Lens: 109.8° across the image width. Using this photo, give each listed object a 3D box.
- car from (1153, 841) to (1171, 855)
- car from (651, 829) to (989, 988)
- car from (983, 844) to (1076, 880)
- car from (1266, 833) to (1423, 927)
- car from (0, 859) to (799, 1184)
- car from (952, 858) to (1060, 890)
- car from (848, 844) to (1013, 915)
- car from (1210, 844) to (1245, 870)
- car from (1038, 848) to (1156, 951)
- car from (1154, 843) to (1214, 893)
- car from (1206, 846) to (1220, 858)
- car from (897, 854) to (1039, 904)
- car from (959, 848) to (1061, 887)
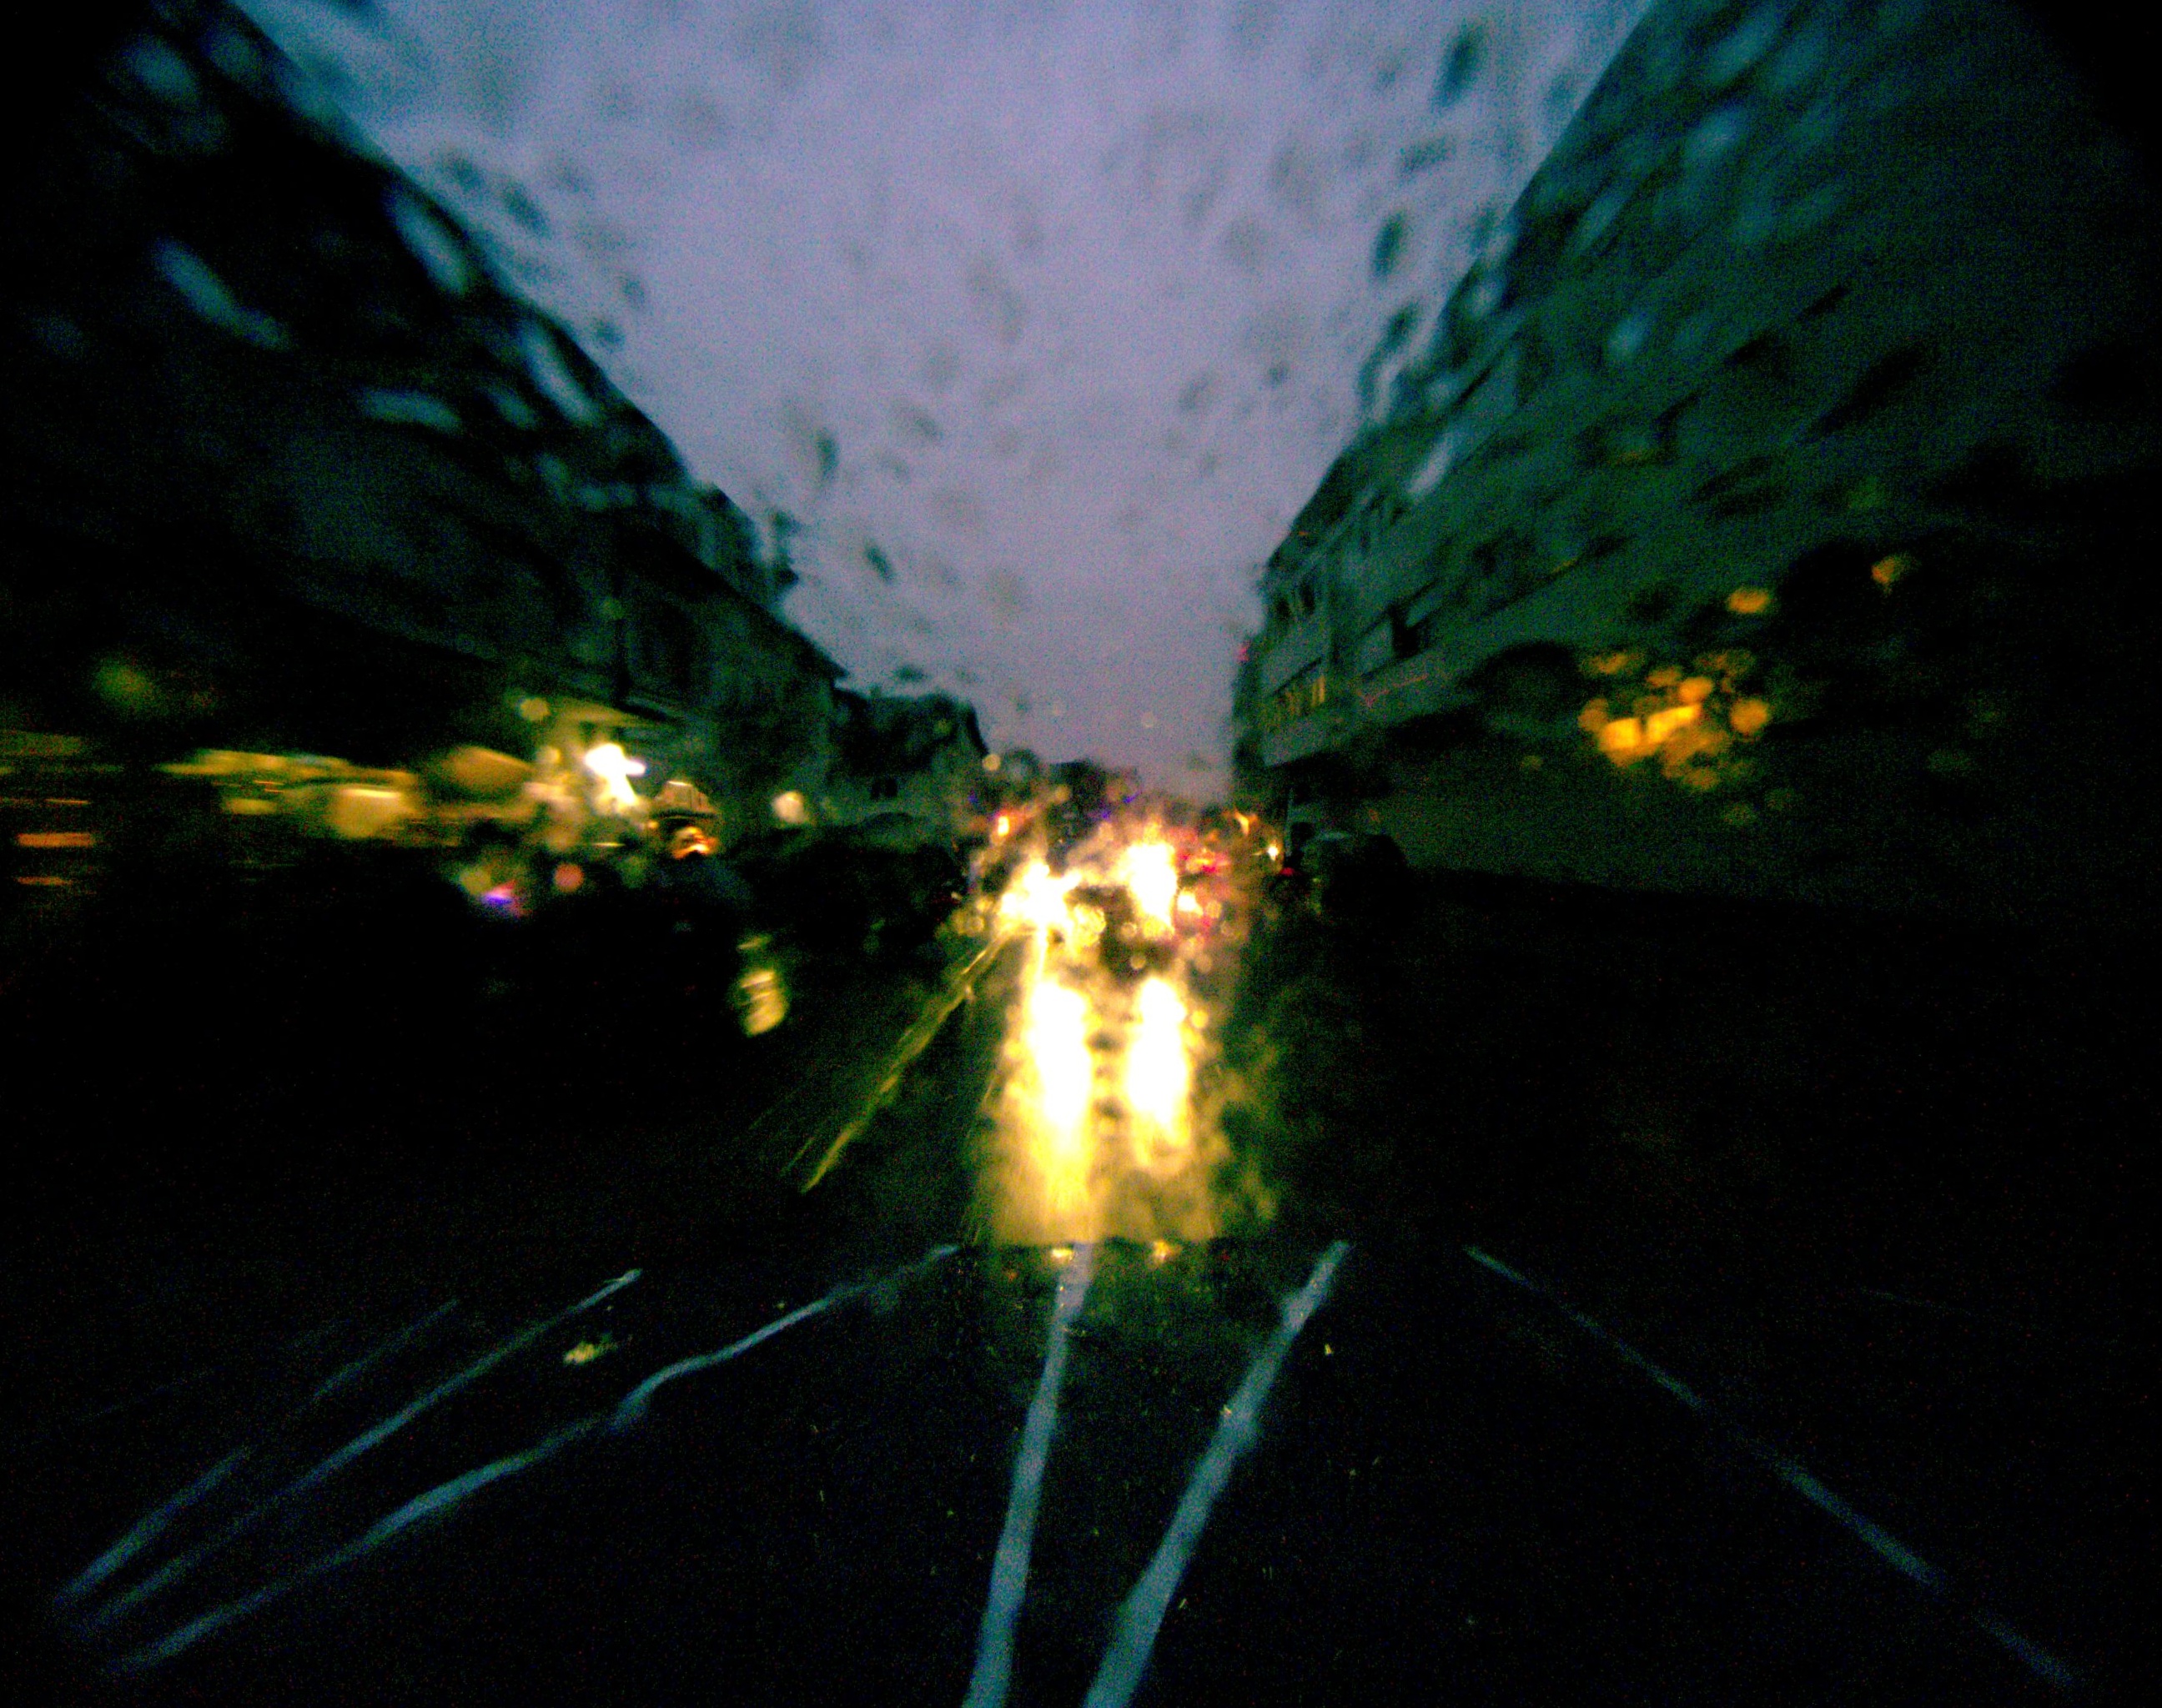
[{"bbox_3d":[9.842,-0.736,92.042,1.922,1.608,3.870,-2,1,9],"label":"car"},{"bbox_3d":[-3.238,0.634,10.154,3.889,1.866,1.868,-1,1,-5],"label":"car"},{"bbox_3d":[-2.167,0.345,32.909,3.888,1.488,1.551,-1,1,0],"label":"car"},{"bbox_3d":[5.152,0.445,15.417,1.899,1.607,3.827,-2,1,1],"label":"car"},{"bbox_3d":[-3.976,0.850,4.731,3.852,1.618,1.611,0,1,-4],"label":"car"},{"bbox_3d":[-2.780,0.732,28.574,3.888,1.121,1.551,-1,1,0],"label":"car"},{"bbox_3d":[-3.790,0.622,19.633,3.888,1.722,1.714,-1,1,0],"label":"car"},{"bbox_3d":[8.700,0.163,45.340,1.777,1.441,3.828,-2,1,8],"label":"car"},{"bbox_3d":[0.372,0.687,13.318,1.731,1.475,3.604,-3,1,4],"label":"car"},{"bbox_3d":[3.742,0.460,28.278,1.893,1.670,4.001,-2,1,4],"label":"car"},{"bbox_3d":[16.608,-0.283,95.504,1.495,1.455,3.128,0,2,14],"label":"car"},{"bbox_3d":[-3.216,0.715,22.160,3.888,1.359,1.551,-1,1,0],"label":"car"},{"bbox_3d":[-2.792,0.521,30.452,3.888,1.488,1.551,-1,1,0],"label":"car"}]
